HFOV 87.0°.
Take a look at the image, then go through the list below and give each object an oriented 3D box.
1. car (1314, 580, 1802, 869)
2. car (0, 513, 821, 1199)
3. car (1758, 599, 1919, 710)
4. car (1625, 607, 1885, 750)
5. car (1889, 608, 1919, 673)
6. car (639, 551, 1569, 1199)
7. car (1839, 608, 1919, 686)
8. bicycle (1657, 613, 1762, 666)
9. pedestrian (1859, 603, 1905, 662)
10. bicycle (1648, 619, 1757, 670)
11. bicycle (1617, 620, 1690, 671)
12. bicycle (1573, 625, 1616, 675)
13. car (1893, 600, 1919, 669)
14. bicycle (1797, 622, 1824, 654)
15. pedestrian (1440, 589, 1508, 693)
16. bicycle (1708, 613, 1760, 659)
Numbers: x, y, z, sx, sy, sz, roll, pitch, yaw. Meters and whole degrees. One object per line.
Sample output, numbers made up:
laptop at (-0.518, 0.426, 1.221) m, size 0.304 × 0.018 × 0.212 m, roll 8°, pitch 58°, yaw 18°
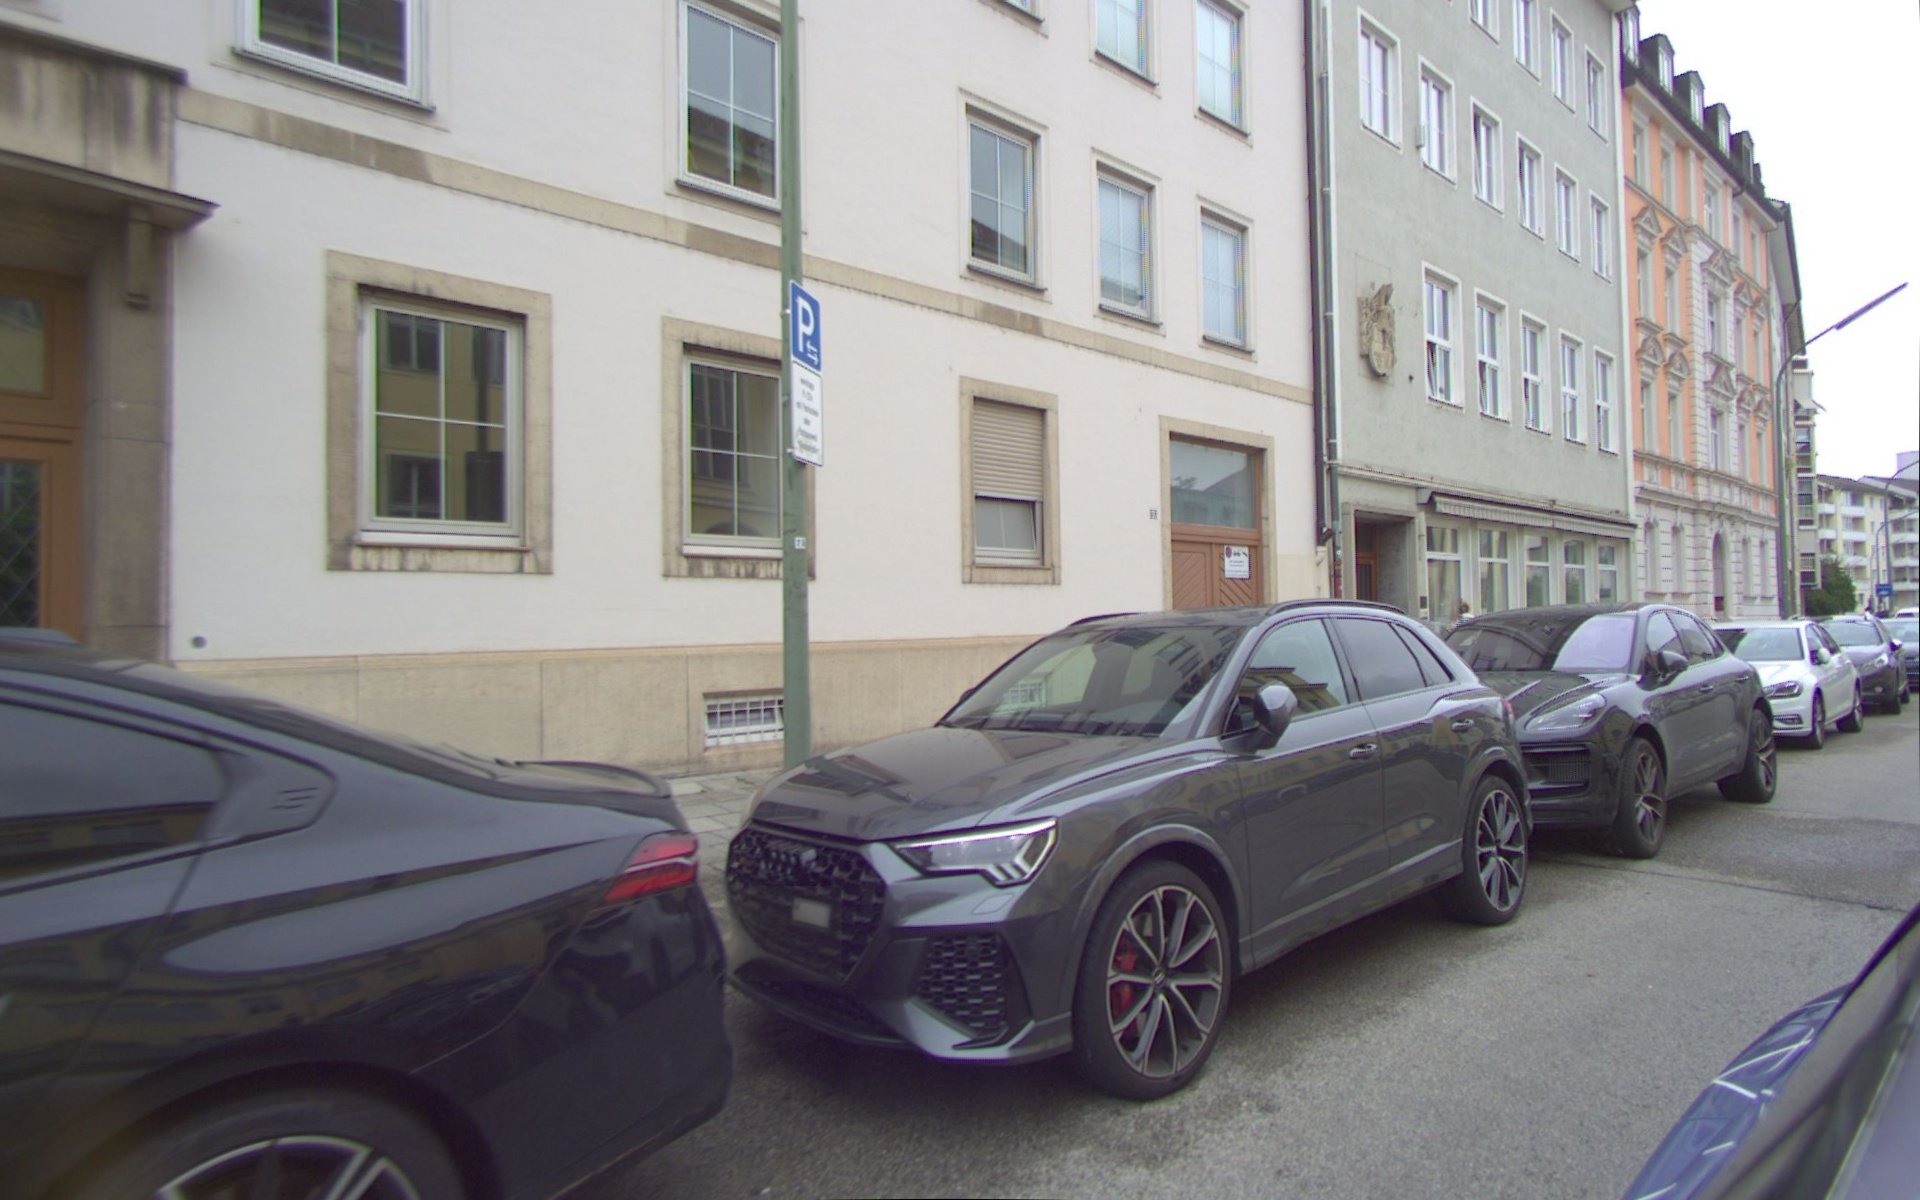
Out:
car at (4.691, 0.741, 7.686) m, size 4.251 × 1.605 × 1.781 m, roll 0°, pitch -3°, yaw -39°
car at (-2.695, 0.700, 1.432) m, size 4.734 × 1.564 × 1.857 m, roll 0°, pitch -3°, yaw -43°
car at (14.603, 0.845, 16.618) m, size 4.014 × 1.604 × 1.693 m, roll 0°, pitch -4°, yaw -43°
car at (9.948, 0.880, 12.567) m, size 4.011 × 1.483 × 1.694 m, roll 0°, pitch -4°, yaw -40°
car at (23.752, 0.928, 24.466) m, size 4.230 × 1.470 × 1.599 m, roll 1°, pitch -4°, yaw -44°
car at (0.940, 0.732, 4.560) m, size 4.195 × 1.605 × 1.781 m, roll 0°, pitch -3°, yaw -40°
car at (19.561, 0.913, 20.662) m, size 4.010 × 1.470 × 1.695 m, roll 0°, pitch -4°, yaw -39°
bicycle at (18.367, 0.960, 24.828) m, size 2.057 × 1.198 × 0.609 m, roll 2°, pitch -1°, yaw 3°
pedestrian at (26.540, 0.927, 29.132) m, size 0.636 × 1.684 × 0.862 m, roll 1°, pitch -2°, yaw -41°
bicycle at (17.723, 1.053, 24.182) m, size 2.057 × 1.198 × 0.608 m, roll 0°, pitch -1°, yaw 4°
bicycle at (15.726, 1.000, 22.927) m, size 2.415 × 1.088 × 0.770 m, roll 1°, pitch -1°, yaw -41°
bicycle at (13.361, 1.036, 21.293) m, size 1.494 × 1.017 × 0.331 m, roll 1°, pitch -1°, yaw -40°
car at (27.415, 0.904, 27.919) m, size 4.809 × 1.809 × 1.843 m, roll 1°, pitch -4°, yaw -41°
bicycle at (31.278, 1.384, 37.213) m, size 0.666 × 1.136 × 1.626 m, roll -3°, pitch -2°, yaw 42°
pedestrian at (8.392, 0.640, 16.539) m, size 0.813 × 1.646 × 0.735 m, roll 1°, pitch 0°, yaw -40°
bicycle at (21.069, 0.973, 27.522) m, size 2.057 × 1.198 × 0.652 m, roll 3°, pitch -1°, yaw -39°
